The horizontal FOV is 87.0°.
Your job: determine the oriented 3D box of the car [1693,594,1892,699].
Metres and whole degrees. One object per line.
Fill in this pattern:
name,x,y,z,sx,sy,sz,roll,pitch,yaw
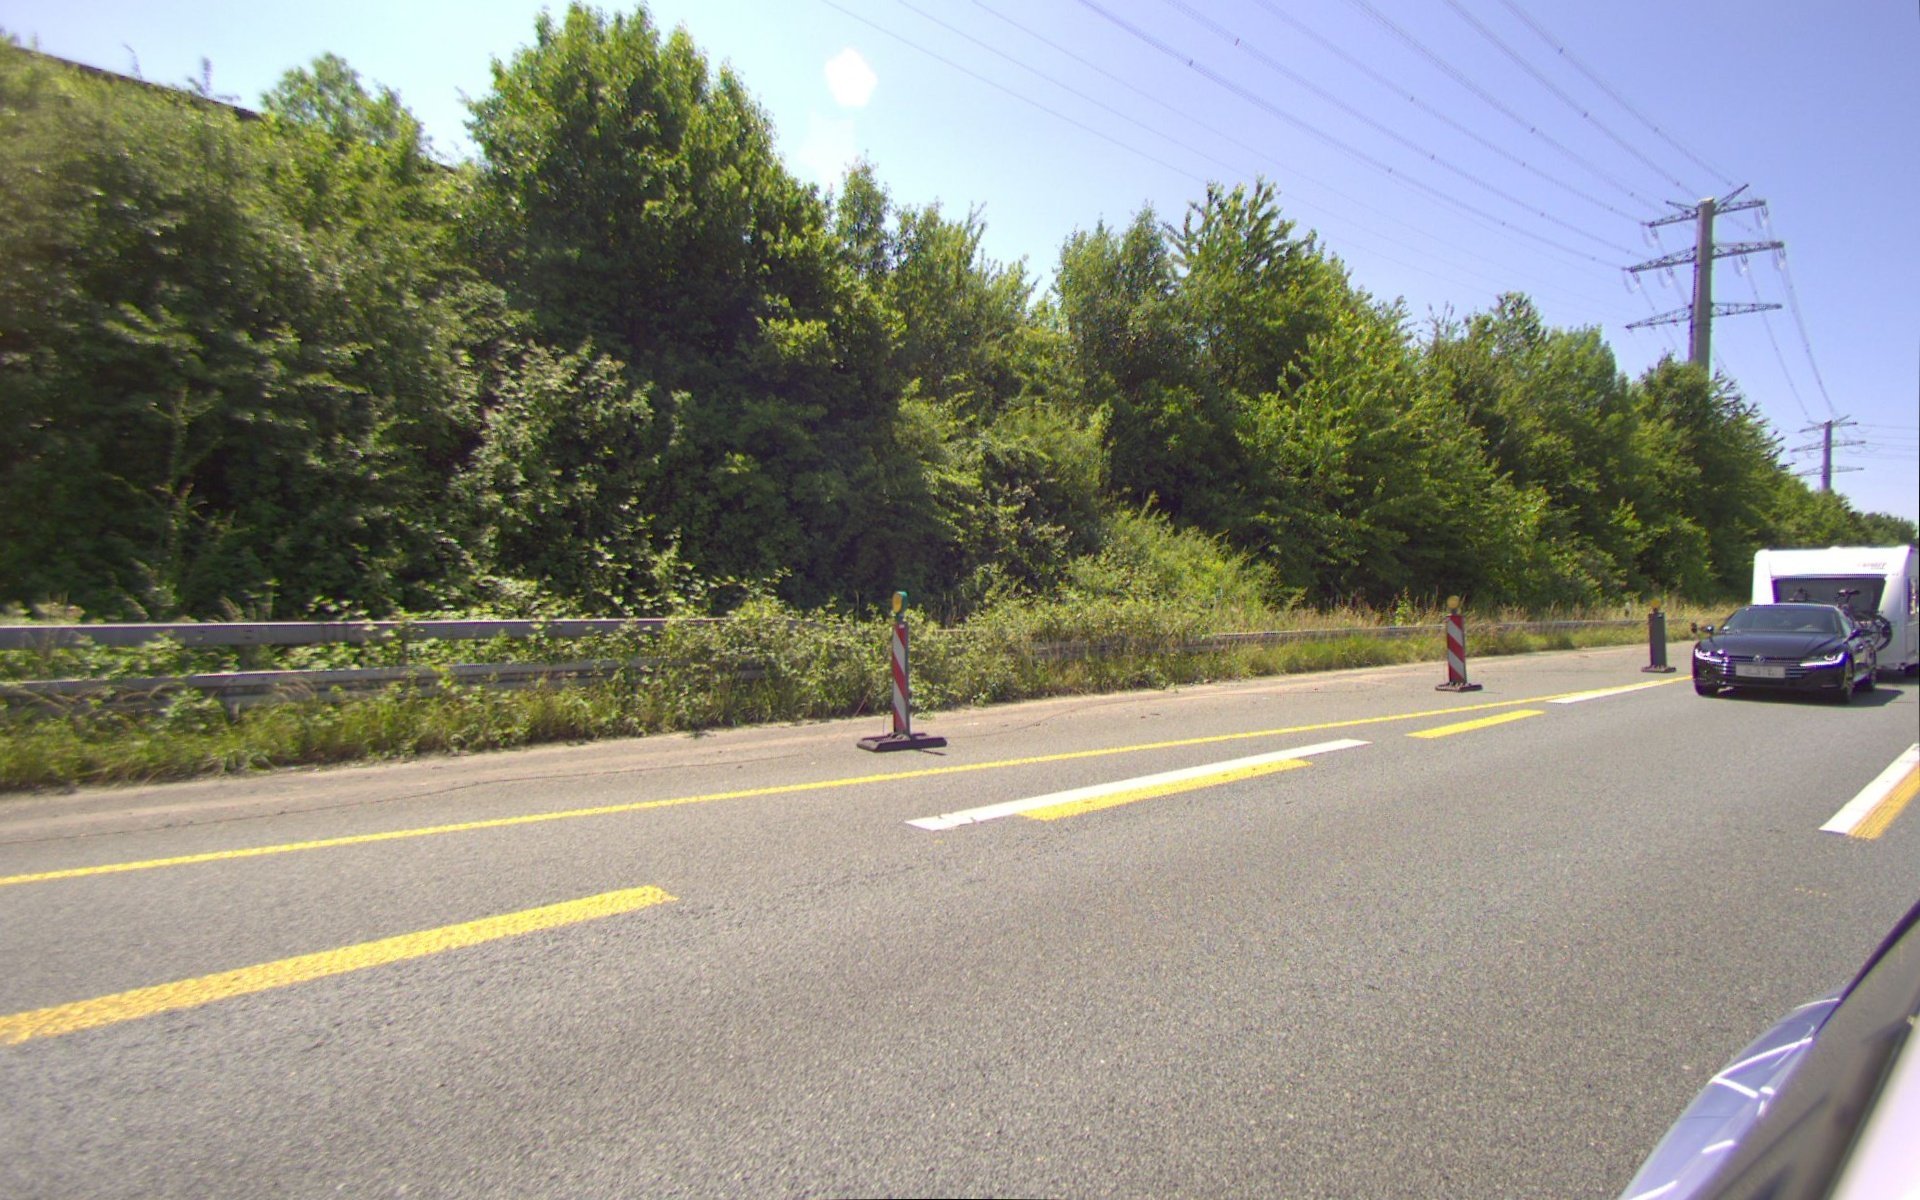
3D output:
car,13.108,0.631,15.852,4.137,1.425,1.799,0,0,-42

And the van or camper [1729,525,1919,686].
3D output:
van or camper,17.729,0.072,20.036,8.271,2.597,2.430,0,0,-42
